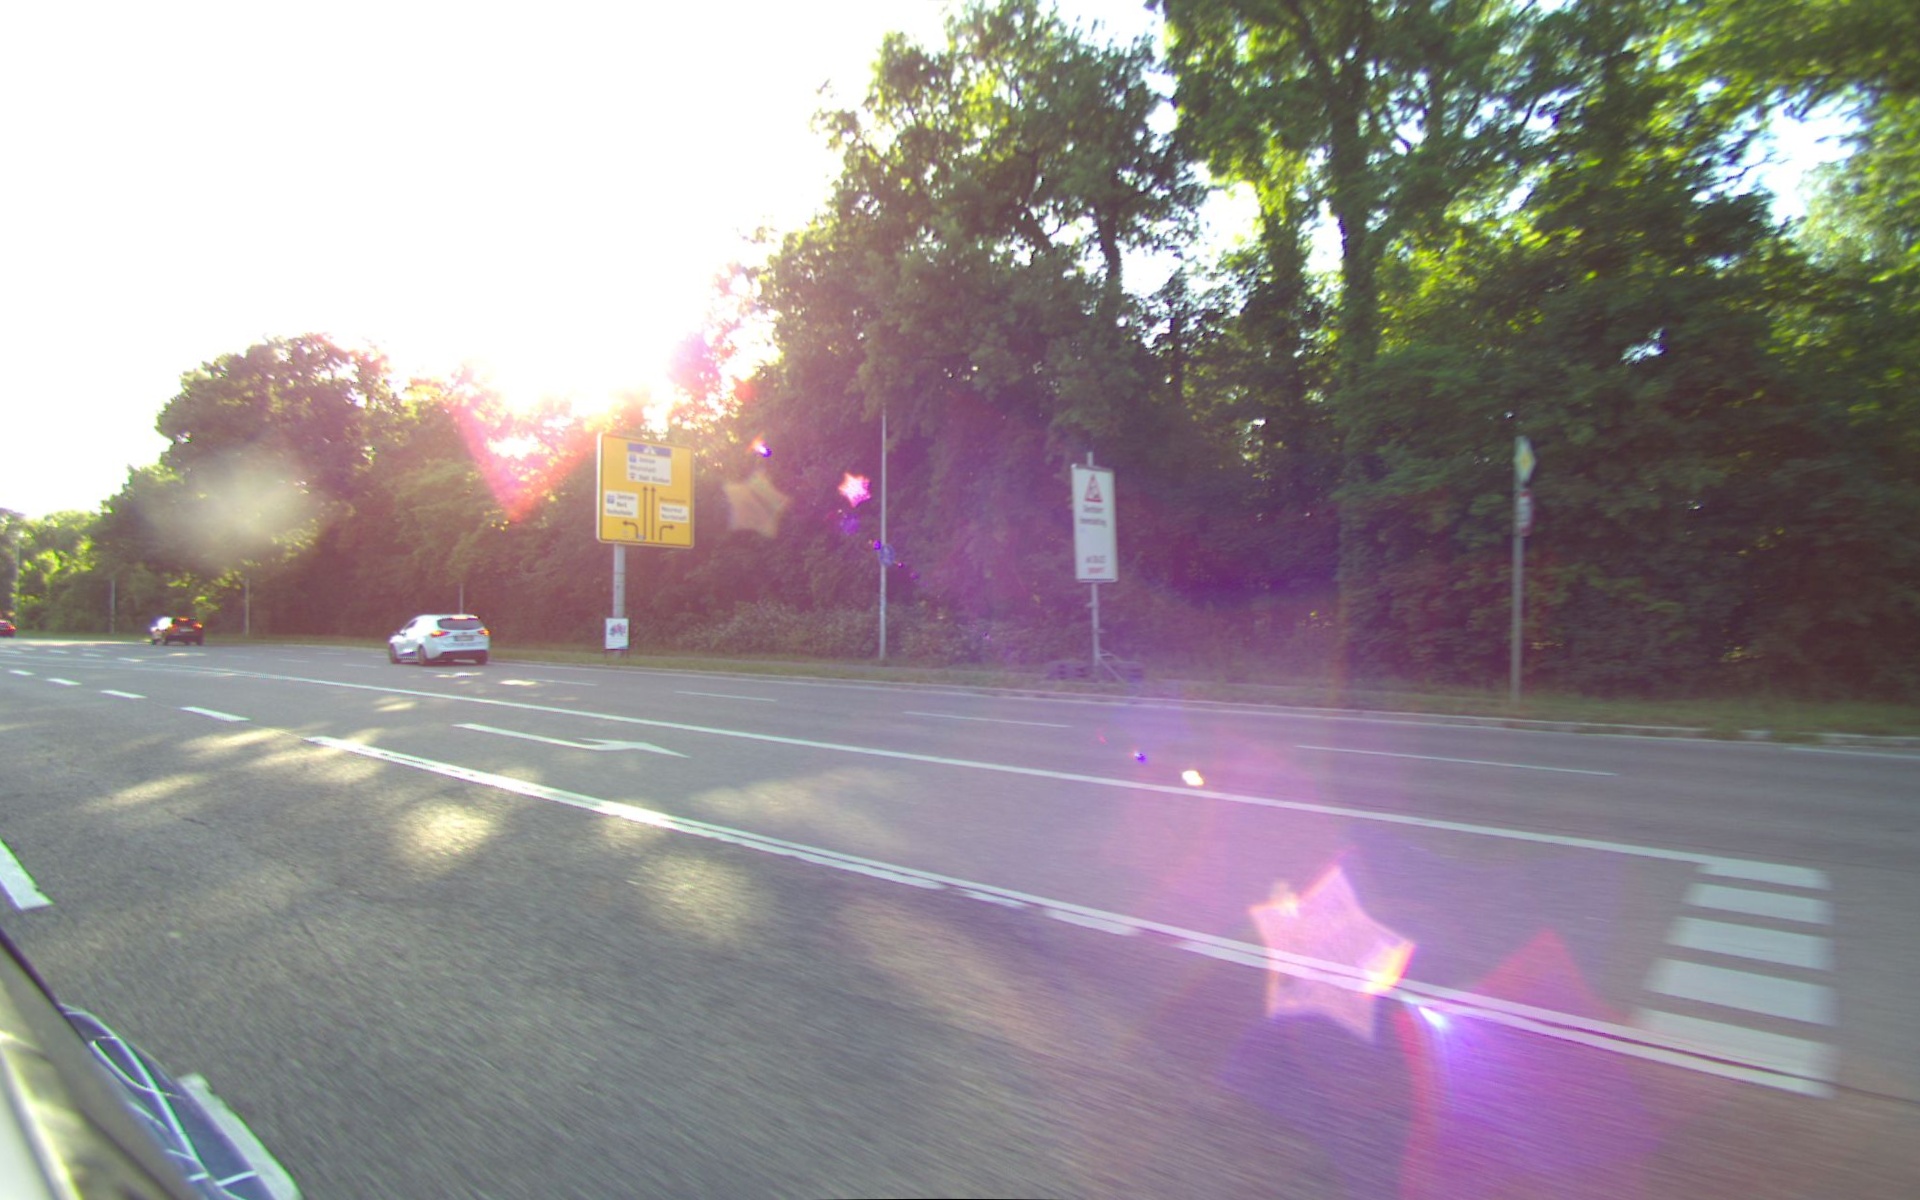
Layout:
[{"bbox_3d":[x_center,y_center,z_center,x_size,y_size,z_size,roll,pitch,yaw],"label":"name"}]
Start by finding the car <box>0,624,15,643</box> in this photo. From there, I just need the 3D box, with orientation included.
[{"bbox_3d":[-81.648,2.804,85.410,4.330,1.576,1.975,-1,-2,36],"label":"car"}]

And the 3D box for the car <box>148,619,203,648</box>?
[{"bbox_3d":[-43.519,1.843,56.111,4.257,1.556,1.805,-1,-2,43],"label":"car"}]

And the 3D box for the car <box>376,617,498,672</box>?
[{"bbox_3d":[-15.548,1.267,29.990,4.304,1.515,1.805,-1,-2,42],"label":"car"}]
